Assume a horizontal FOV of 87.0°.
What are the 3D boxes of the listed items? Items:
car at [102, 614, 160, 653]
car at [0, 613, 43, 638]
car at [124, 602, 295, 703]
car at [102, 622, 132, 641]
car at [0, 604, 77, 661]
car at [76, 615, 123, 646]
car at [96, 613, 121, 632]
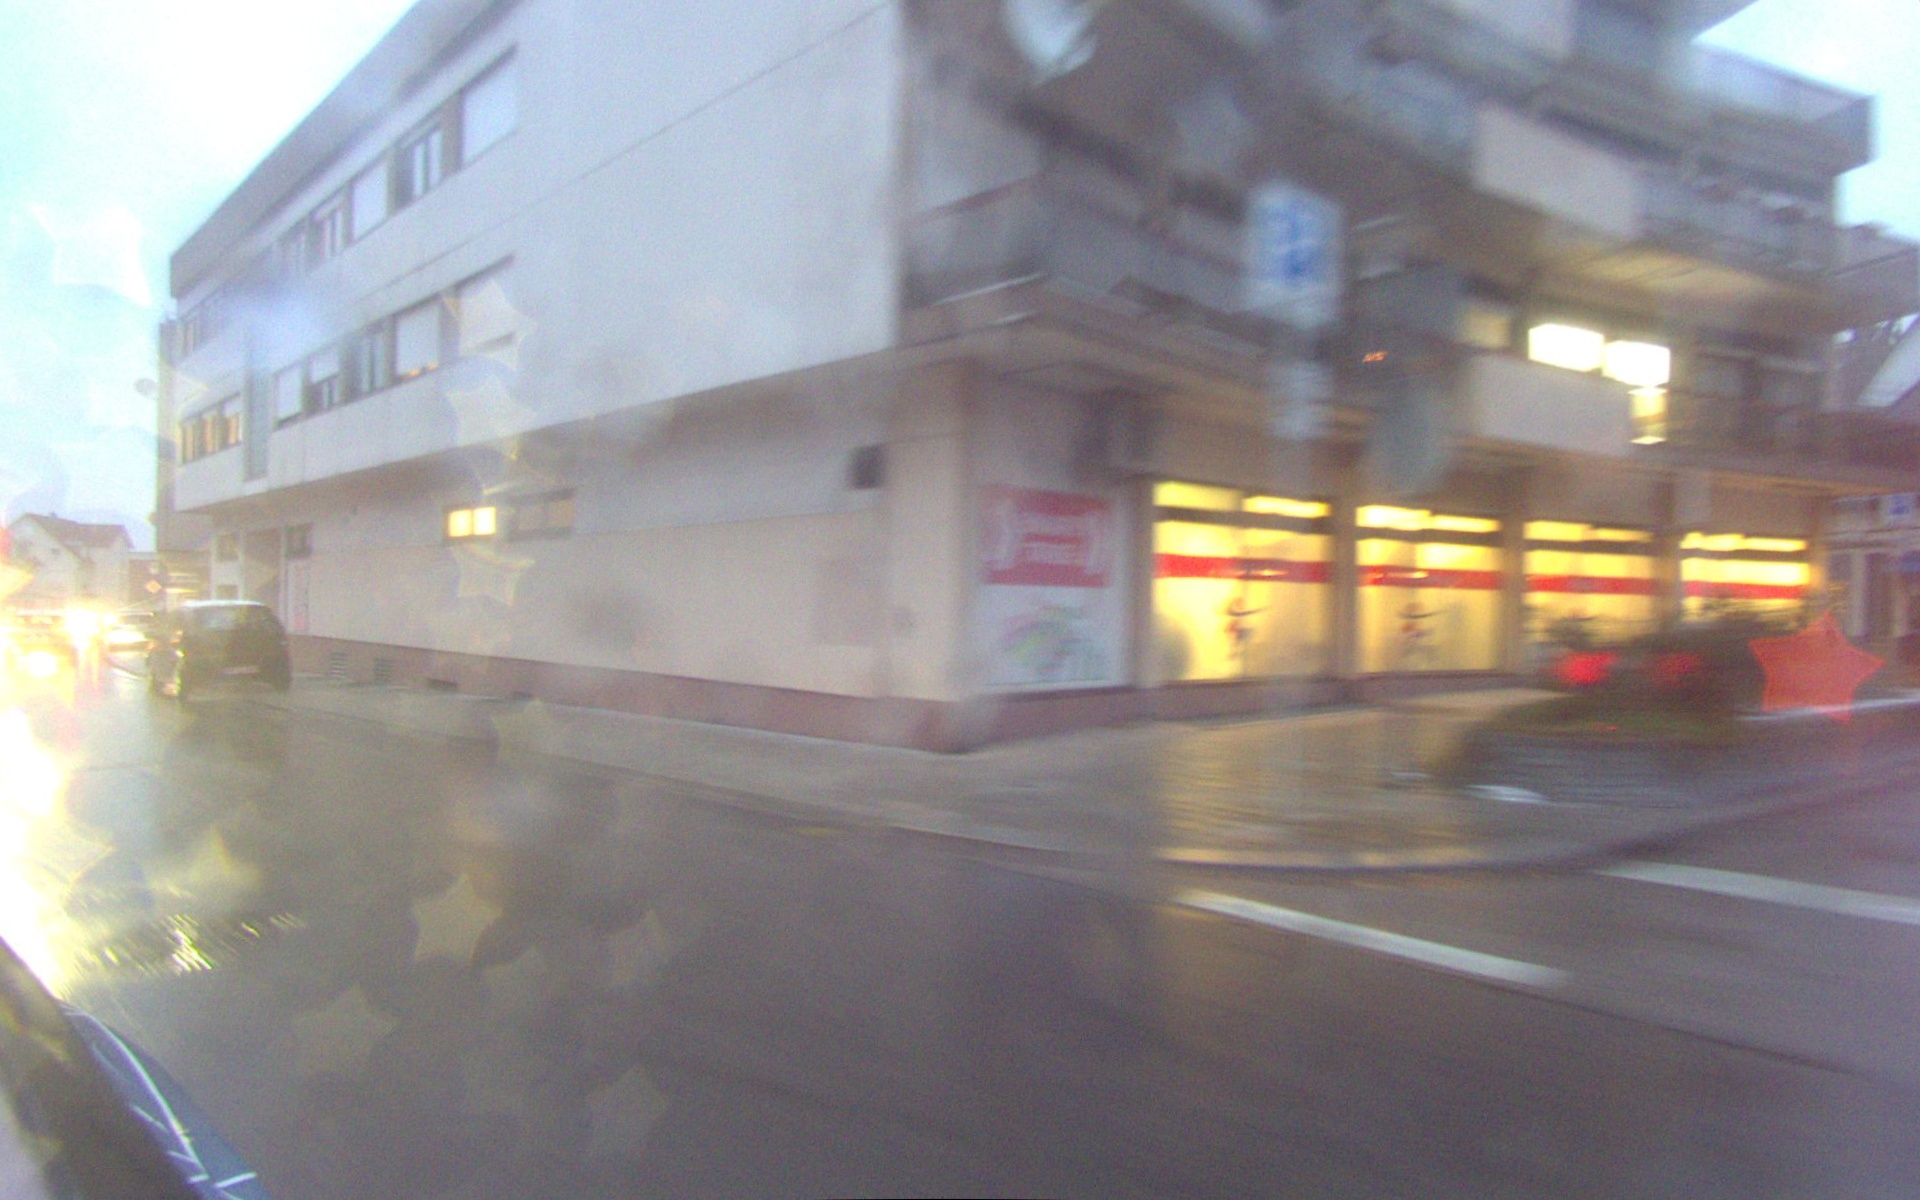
[{"bbox_3d":[-33.641,1.318,41.042,1.751,1.460,3.833,-1,0,-40],"label":"car"},{"bbox_3d":[-63.575,1.727,68.395,1.893,1.630,3.878,-1,0,-35],"label":"car"},{"bbox_3d":[-13.731,0.889,18.446,3.827,1.629,1.874,-1,-1,43],"label":"car"},{"bbox_3d":[-66.523,2.474,79.877,1.472,1.474,3.134,2,-1,-34],"label":"car"},{"bbox_3d":[-29.500,1.000,32.208,1.867,1.692,4.003,0,-1,-44],"label":"car"},{"bbox_3d":[-43.431,1.525,51.119,1.751,1.460,3.833,-1,0,-40],"label":"car"},{"bbox_3d":[-97.070,2.565,115.366,1.808,2.029,3.709,-1,0,-35],"label":"car"}]
